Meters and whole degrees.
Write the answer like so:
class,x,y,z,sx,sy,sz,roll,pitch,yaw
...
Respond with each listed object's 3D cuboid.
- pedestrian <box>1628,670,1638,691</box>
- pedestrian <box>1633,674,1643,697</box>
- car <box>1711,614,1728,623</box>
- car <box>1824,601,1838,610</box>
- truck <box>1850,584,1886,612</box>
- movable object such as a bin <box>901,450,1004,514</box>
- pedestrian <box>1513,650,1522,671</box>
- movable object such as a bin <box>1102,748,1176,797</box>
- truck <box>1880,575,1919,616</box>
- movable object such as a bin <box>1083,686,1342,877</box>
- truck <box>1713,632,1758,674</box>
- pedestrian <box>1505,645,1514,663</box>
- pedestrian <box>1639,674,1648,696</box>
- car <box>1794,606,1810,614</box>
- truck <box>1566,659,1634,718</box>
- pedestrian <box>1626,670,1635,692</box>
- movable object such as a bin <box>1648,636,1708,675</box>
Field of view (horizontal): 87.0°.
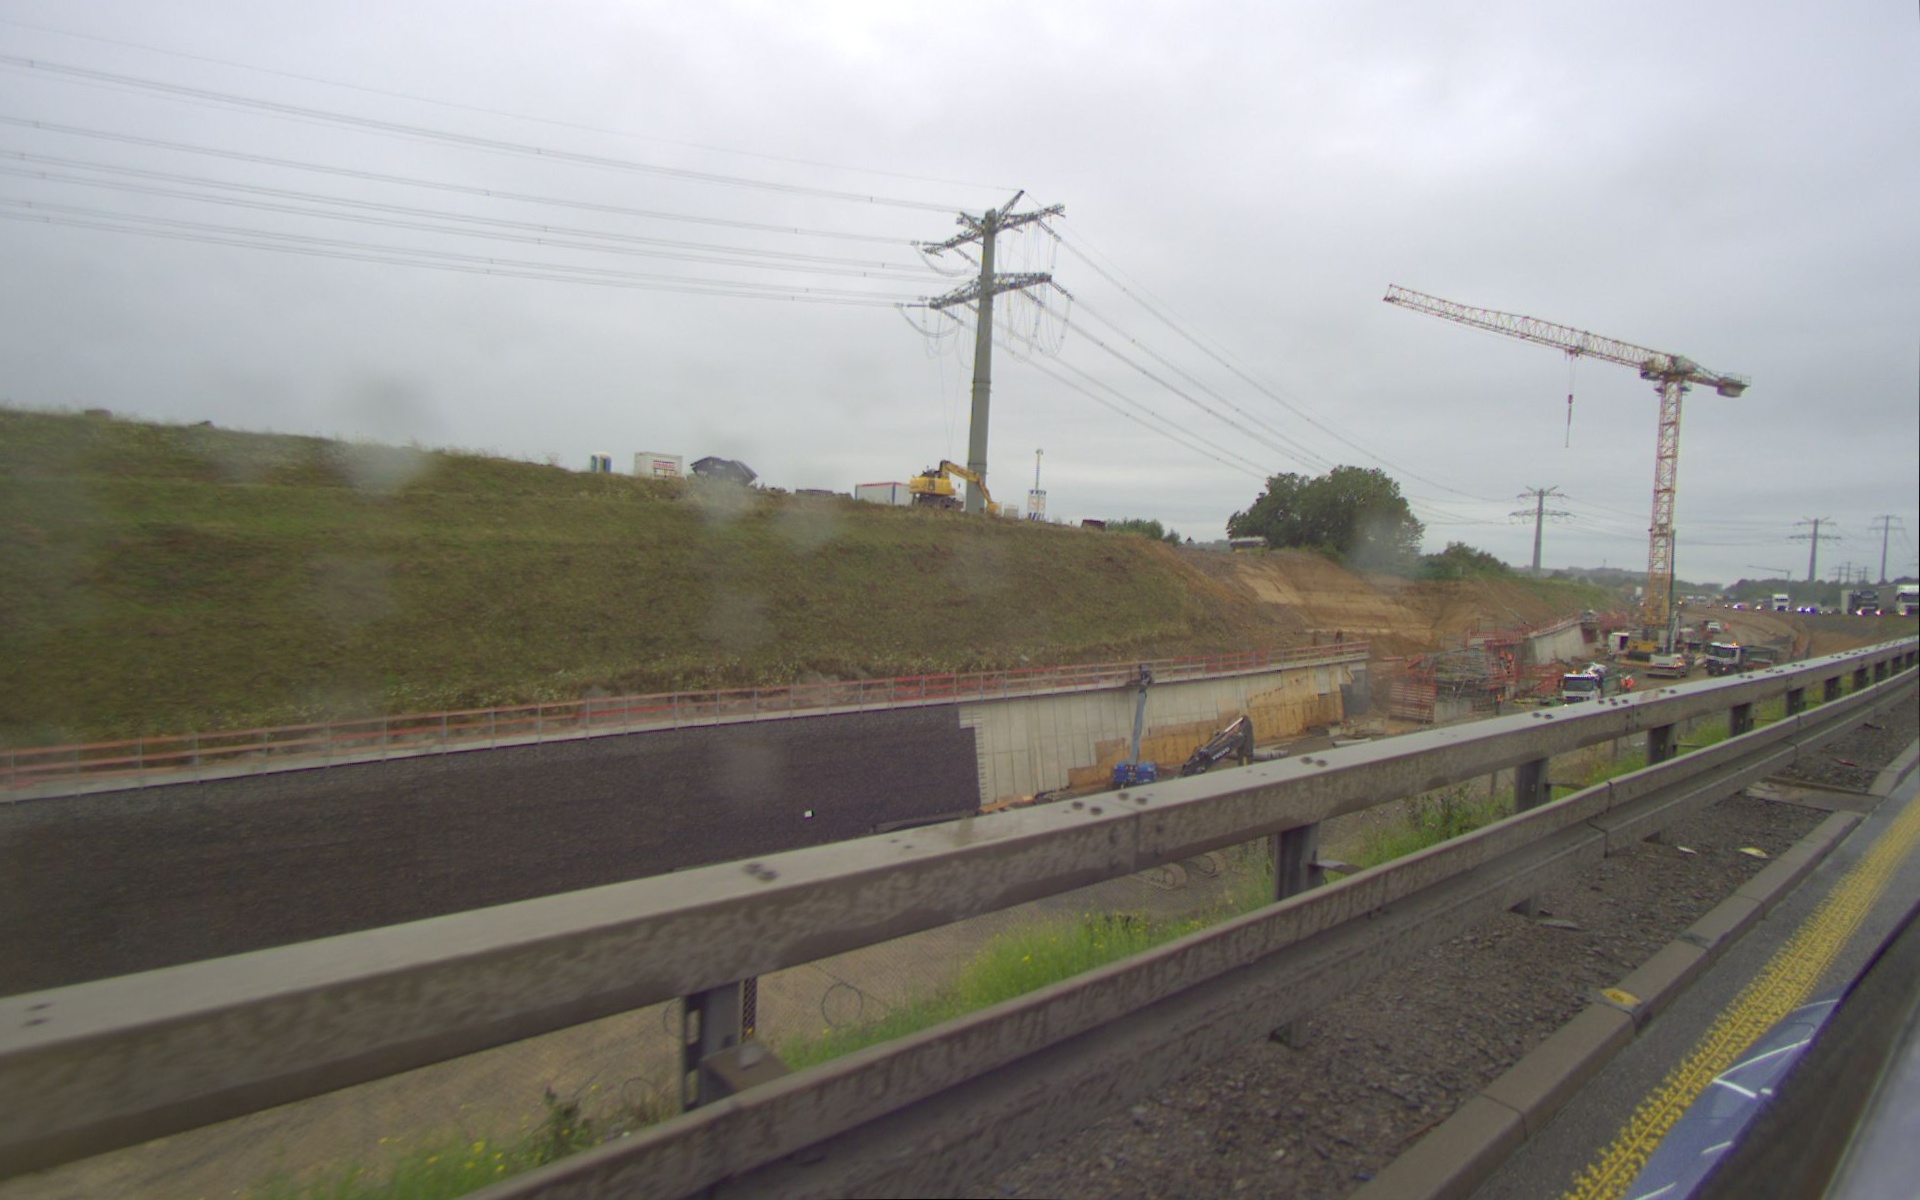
class,x,y,z,sx,sy,sz,roll,pitch,yaw
pedestrian,60.986,7.327,91.695,0.601,1.791,0.474,5,4,42
pedestrian,61.623,7.775,91.973,0.601,1.928,0.605,3,2,41
car,143.351,3.471,191.004,2.342,1.638,4.789,2,2,40
car,145.586,0.864,169.172,1.783,1.445,3.941,-1,0,41
truck,131.386,-0.256,146.520,3.531,3.943,8.214,-1,-1,40
movable object such as a bin,-0.524,-9.254,80.288,8.035,4.259,3.105,0,1,-41
pedestrian,57.790,6.248,104.912,0.487,2.127,0.474,-6,-4,41
movable object such as a bin,9.580,9.166,54.033,2.514,1.935,3.207,-2,-1,43
truck,107.806,-0.483,115.086,4.302,4.400,13.209,-1,0,41
movable object such as a bin,11.228,7.317,43.924,11.887,5.740,4.900,-4,1,-42
truck,81.639,5.470,106.511,3.349,3.583,8.781,1,3,40
pedestrian,56.439,5.575,103.945,0.570,1.827,0.490,-3,-3,-8
pedestrian,62.329,7.737,92.315,0.601,1.928,0.474,3,2,42
car,149.452,1.719,179.643,1.778,1.445,3.950,-1,0,34
truck,51.286,6.964,81.012,2.704,3.655,8.929,3,3,45
pedestrian,61.810,7.487,93.288,0.601,1.928,0.474,4,3,42
movable object such as a bin,74.506,5.721,104.962,6.536,3.467,3.515,-2,1,-40
